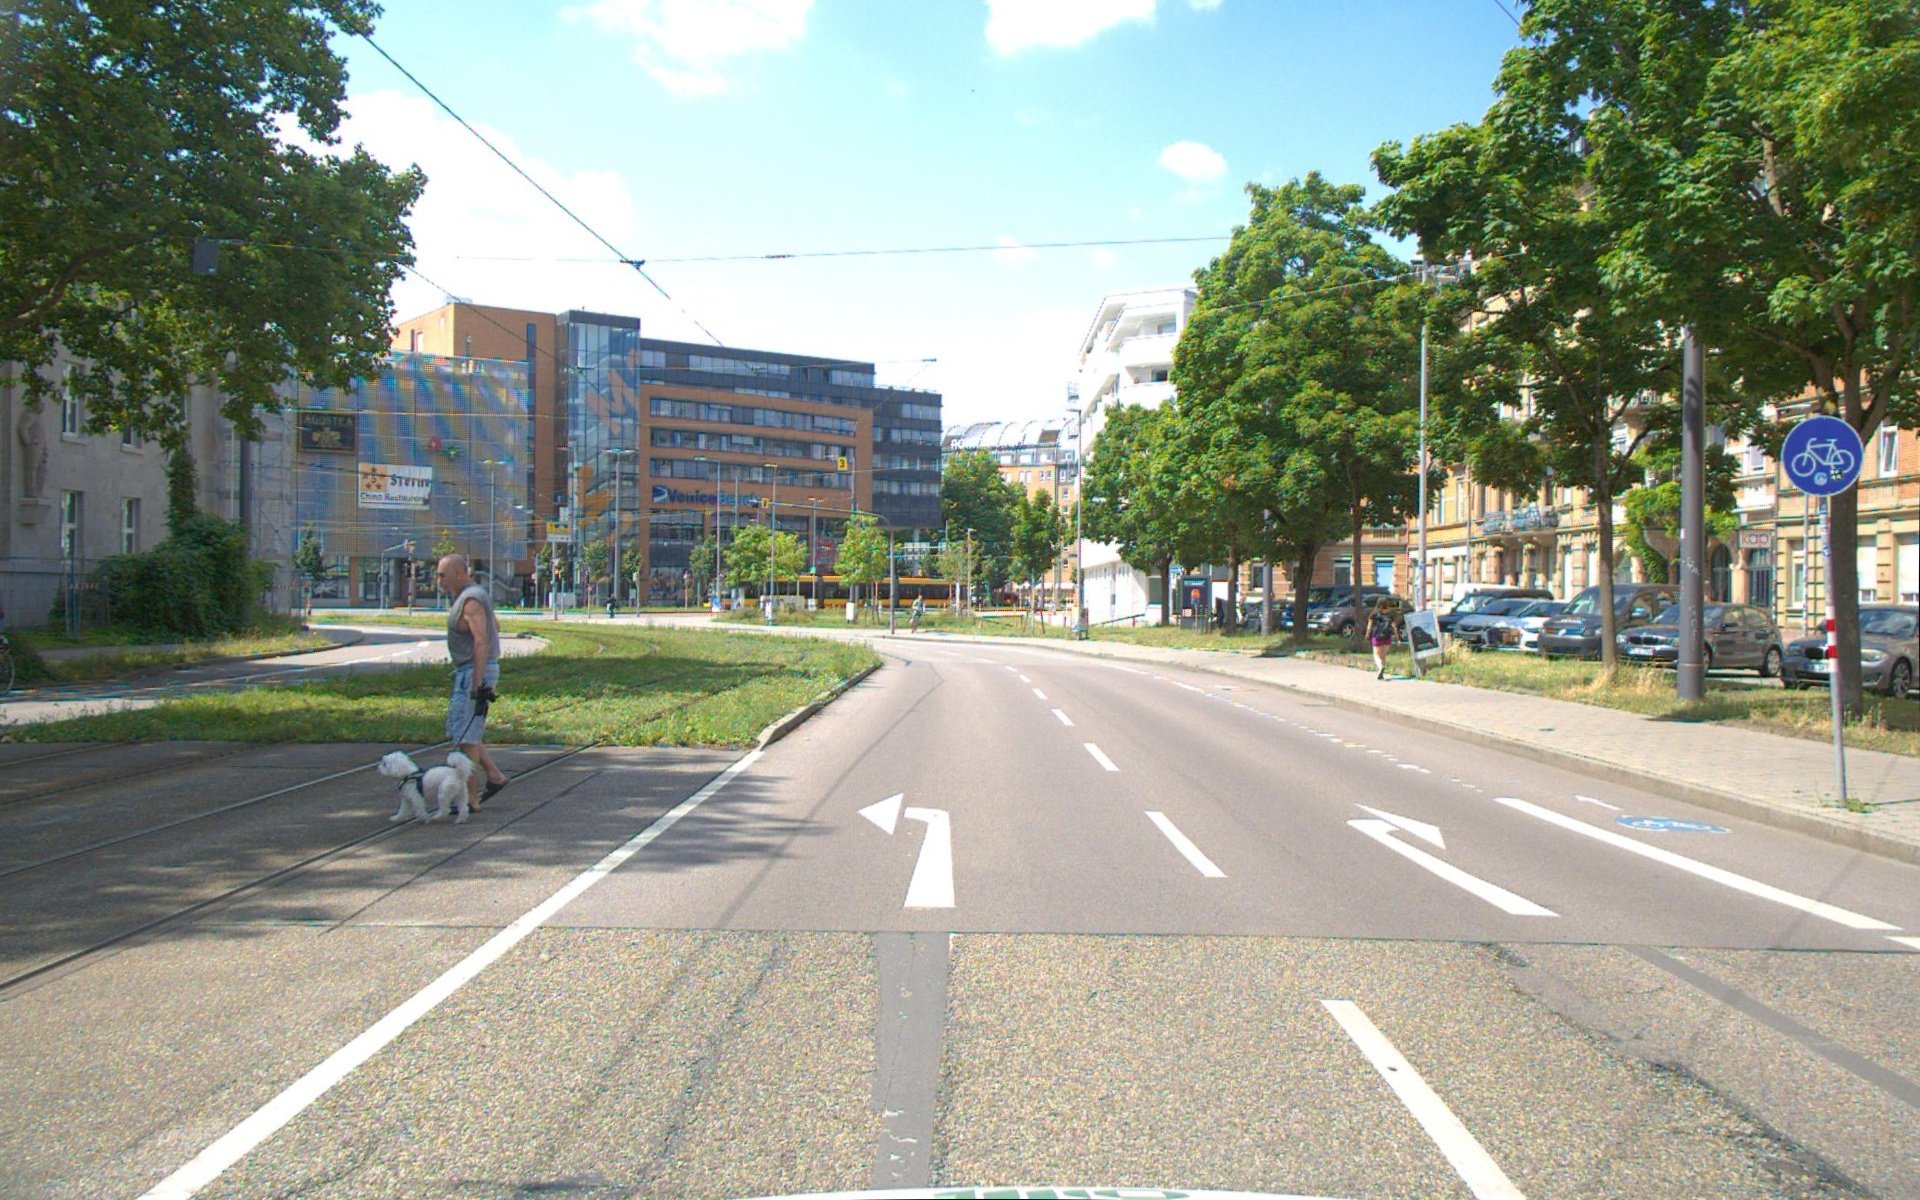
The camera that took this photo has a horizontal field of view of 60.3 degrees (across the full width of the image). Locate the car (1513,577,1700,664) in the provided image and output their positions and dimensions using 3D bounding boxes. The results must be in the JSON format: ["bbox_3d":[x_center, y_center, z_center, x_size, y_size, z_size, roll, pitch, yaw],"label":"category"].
[{"bbox_3d":[14.230,0.468,36.337,4.318,1.771,1.828,2,-1,-37],"label":"car"}]

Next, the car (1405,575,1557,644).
[{"bbox_3d":[14.650,0.277,46.472,4.094,1.771,1.833,2,-1,-31],"label":"car"}]

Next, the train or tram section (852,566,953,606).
[{"bbox_3d":[-5.819,-1.371,170.545,3.006,3.684,12.579,1,-1,37],"label":"train or tram section"}]

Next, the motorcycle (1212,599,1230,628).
[{"bbox_3d":[10.613,0.544,67.202,0.624,1.187,1.908,1,0,12],"label":"motorcycle"}]

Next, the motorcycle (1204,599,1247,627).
[{"bbox_3d":[11.356,0.568,70.749,1.747,1.187,0.639,1,0,-2],"label":"motorcycle"}]

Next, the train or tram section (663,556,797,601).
[{"bbox_3d":[-20.976,-1.923,151.818,3.167,3.662,13.425,1,-1,40],"label":"train or tram section"}]

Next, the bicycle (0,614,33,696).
[{"bbox_3d":[-13.950,0.768,23.542,0.778,1.129,2.266,2,-1,-16],"label":"bicycle"}]

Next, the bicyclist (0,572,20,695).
[{"bbox_3d":[-13.963,0.466,23.589,0.749,1.734,0.780,2,-1,-17],"label":"bicyclist"}]

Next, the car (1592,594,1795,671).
[{"bbox_3d":[14.441,0.653,32.489,4.222,1.404,1.828,2,-1,-37],"label":"car"}]

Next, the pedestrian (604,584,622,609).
[{"bbox_3d":[-24.386,-0.273,116.164,0.897,1.732,0.808,0,0,24],"label":"pedestrian"}]

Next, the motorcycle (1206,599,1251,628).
[{"bbox_3d":[11.364,0.566,70.030,1.747,1.187,0.639,1,0,-2],"label":"motorcycle"}]

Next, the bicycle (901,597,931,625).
[{"bbox_3d":[-2.072,0.503,77.557,0.685,1.264,1.823,-2,1,-26],"label":"bicycle"}]

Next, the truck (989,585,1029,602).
[{"bbox_3d":[6.724,-0.905,227.164,5.422,2.122,1.989,1,-1,41],"label":"truck"}]

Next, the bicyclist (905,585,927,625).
[{"bbox_3d":[-2.068,0.224,77.528,0.686,1.856,0.948,-2,1,-27],"label":"bicyclist"}]

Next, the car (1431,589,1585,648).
[{"bbox_3d":[14.411,0.493,43.408,4.039,1.430,1.829,2,-1,-36],"label":"car"}]

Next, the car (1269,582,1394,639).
[{"bbox_3d":[13.972,0.405,62.138,4.568,1.961,1.896,2,-1,-31],"label":"car"}]

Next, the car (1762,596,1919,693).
[{"bbox_3d":[14.633,0.711,26.108,4.222,1.404,1.828,2,-1,-37],"label":"car"}]

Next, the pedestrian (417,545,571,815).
[{"bbox_3d":[-3.113,0.523,11.113,0.765,1.734,0.702,2,-1,1],"label":"pedestrian"}]

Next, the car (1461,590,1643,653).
[{"bbox_3d":[14.418,0.534,40.177,4.638,1.404,1.830,2,-1,-35],"label":"car"}]

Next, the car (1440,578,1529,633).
[{"bbox_3d":[22.223,0.246,70.296,2.067,2.217,5.393,2,-1,0],"label":"car"}]

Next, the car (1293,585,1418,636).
[{"bbox_3d":[14.134,0.383,59.105,4.111,1.685,1.900,2,-1,-27],"label":"car"}]

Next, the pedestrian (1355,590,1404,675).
[{"bbox_3d":[8.231,0.626,32.462,0.686,1.620,0.905,2,-1,-1],"label":"pedestrian"}]

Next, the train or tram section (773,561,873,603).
[{"bbox_3d":[-13.206,-1.697,161.195,3.007,3.666,10.939,1,-1,38],"label":"train or tram section"}]
